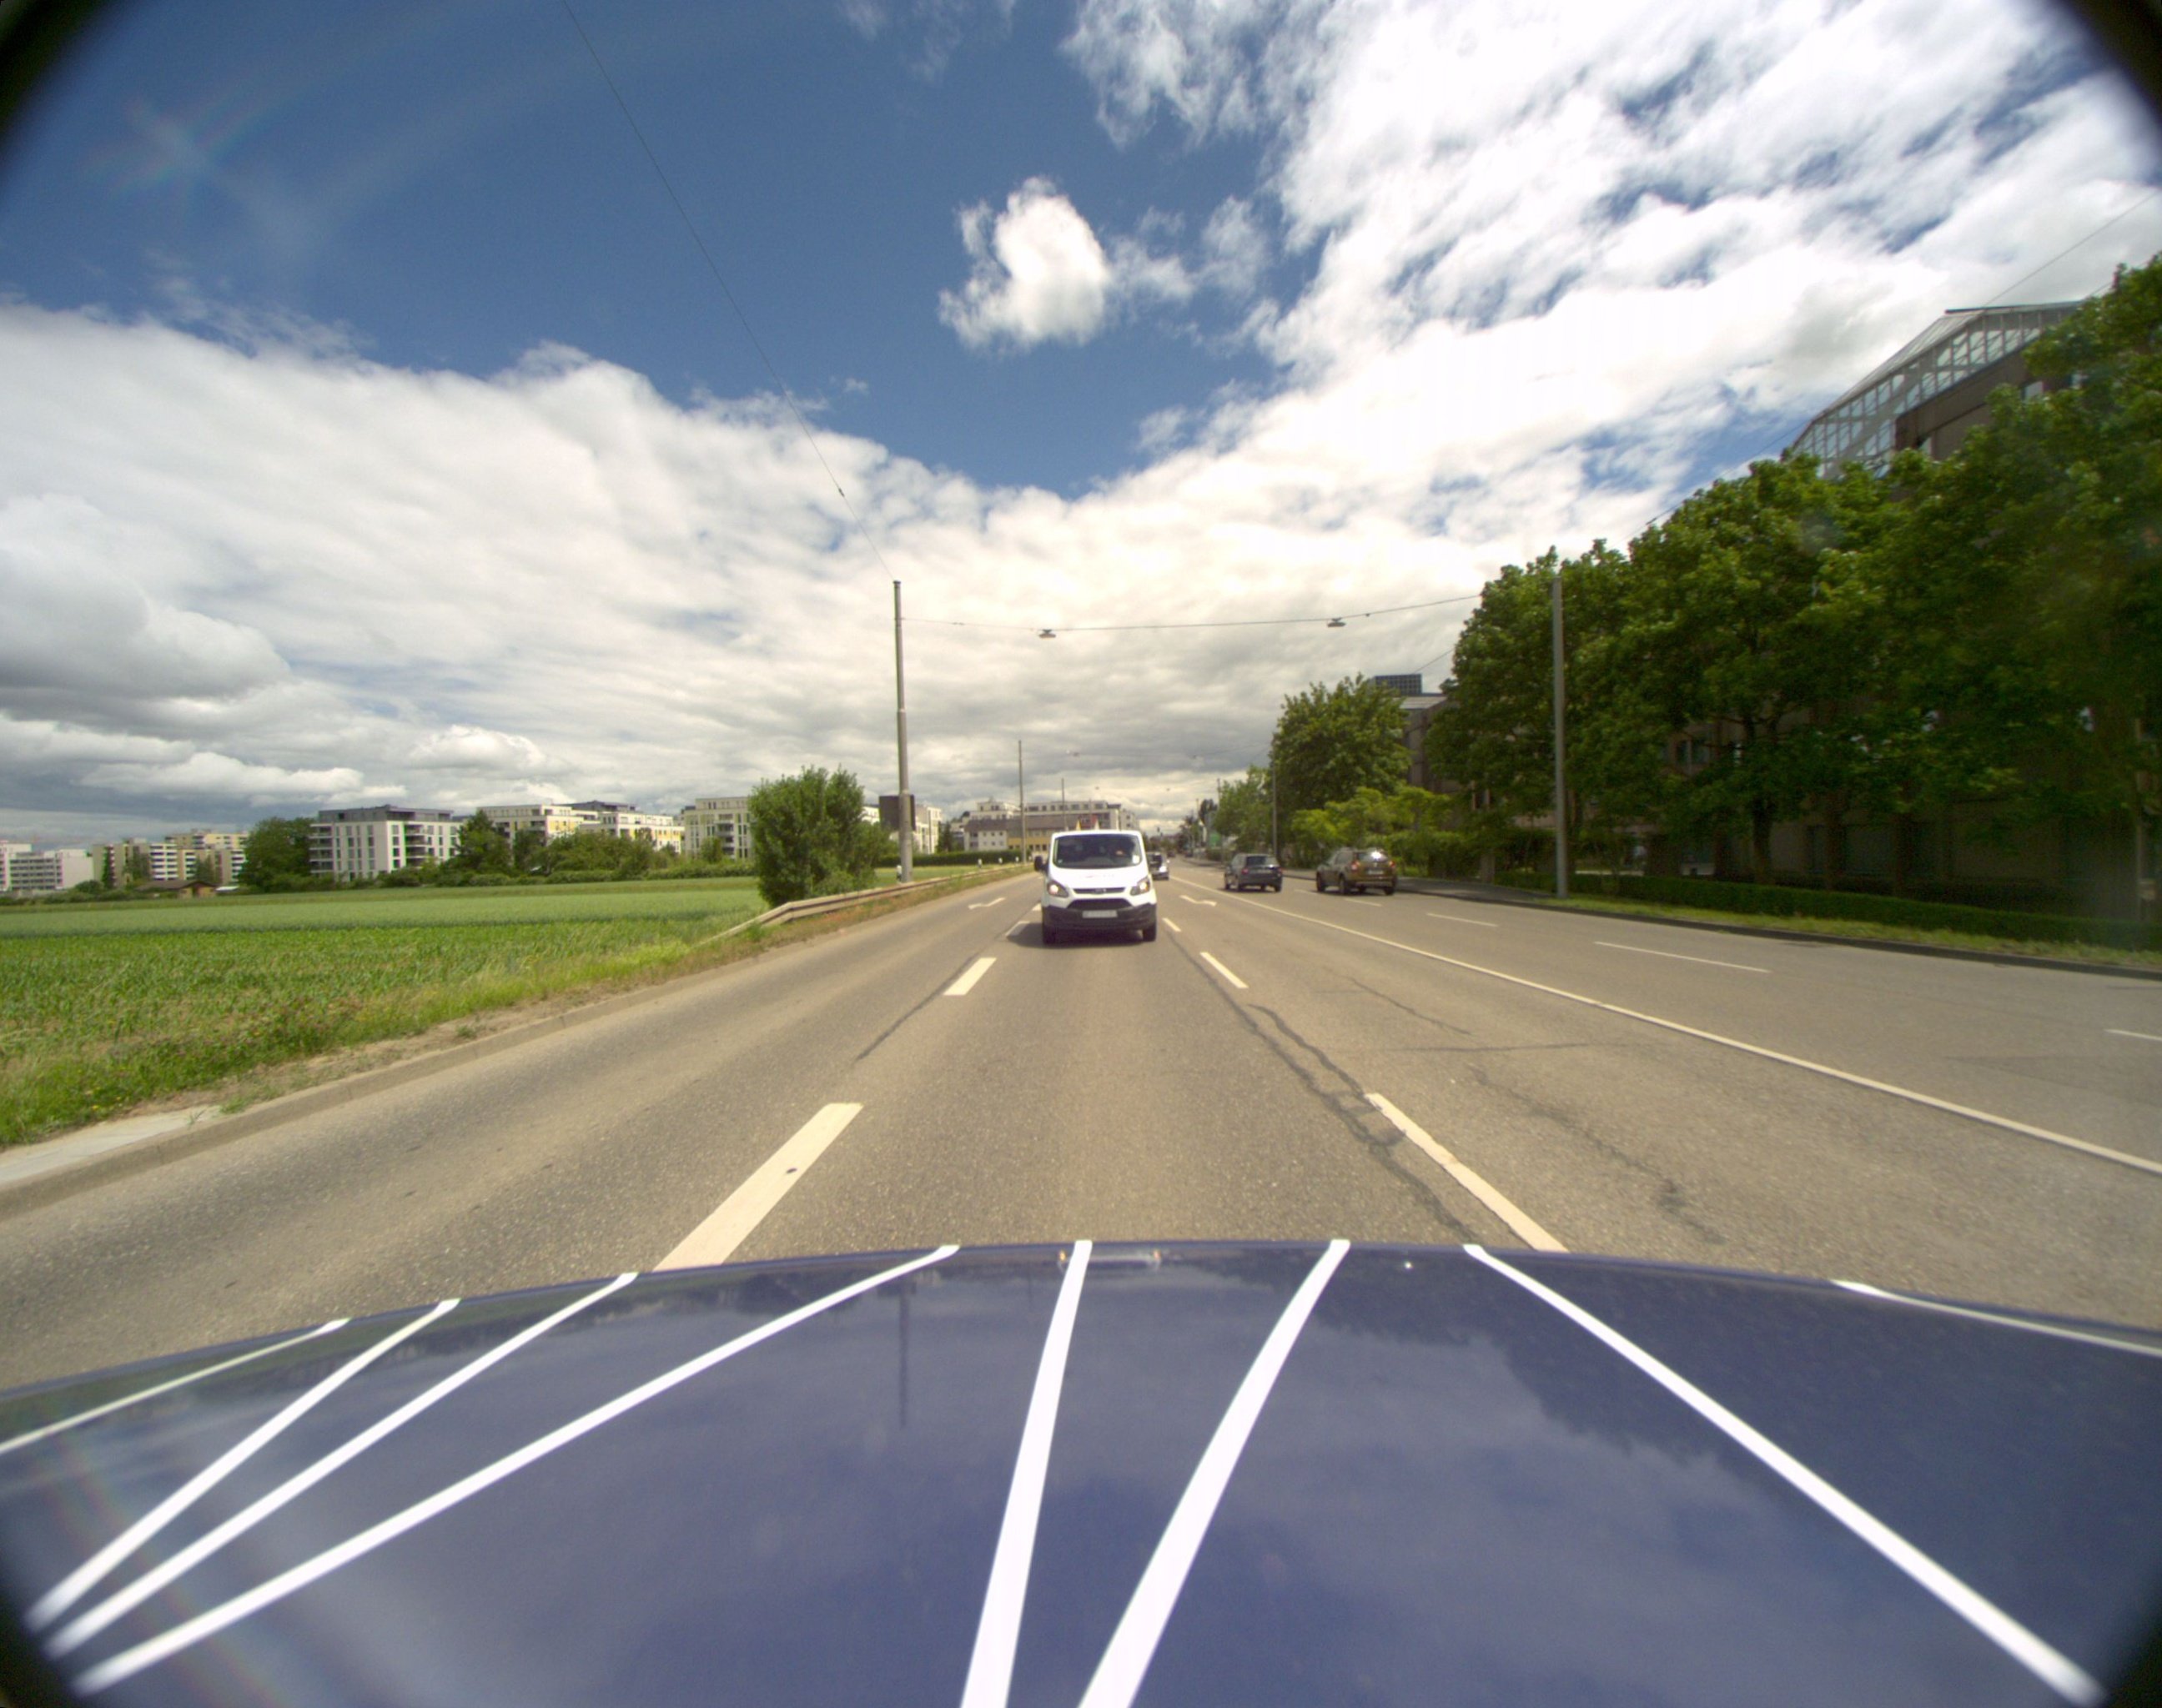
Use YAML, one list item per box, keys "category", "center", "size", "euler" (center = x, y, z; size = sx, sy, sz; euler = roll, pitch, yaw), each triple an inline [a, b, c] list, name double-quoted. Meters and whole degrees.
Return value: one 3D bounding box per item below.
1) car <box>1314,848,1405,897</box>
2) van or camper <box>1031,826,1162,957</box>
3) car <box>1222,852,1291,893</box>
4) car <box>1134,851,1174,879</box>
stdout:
- category: "car"
  center: [9.915, 0.607, 27.384]
  size: [1.897, 1.587, 4.000]
  euler: [-1, 1, 1]
- category: "van or camper"
  center: [0.290, 0.575, 14.840]
  size: [1.998, 2.002, 5.799]
  euler: [-2, 0, 1]
- category: "car"
  center: [6.723, 0.657, 29.508]
  size: [1.800, 1.445, 4.000]
  euler: [0, 0, 1]
- category: "car"
  center: [3.979, 0.583, 42.135]
  size: [1.894, 1.433, 4.000]
  euler: [-2, 0, 1]
